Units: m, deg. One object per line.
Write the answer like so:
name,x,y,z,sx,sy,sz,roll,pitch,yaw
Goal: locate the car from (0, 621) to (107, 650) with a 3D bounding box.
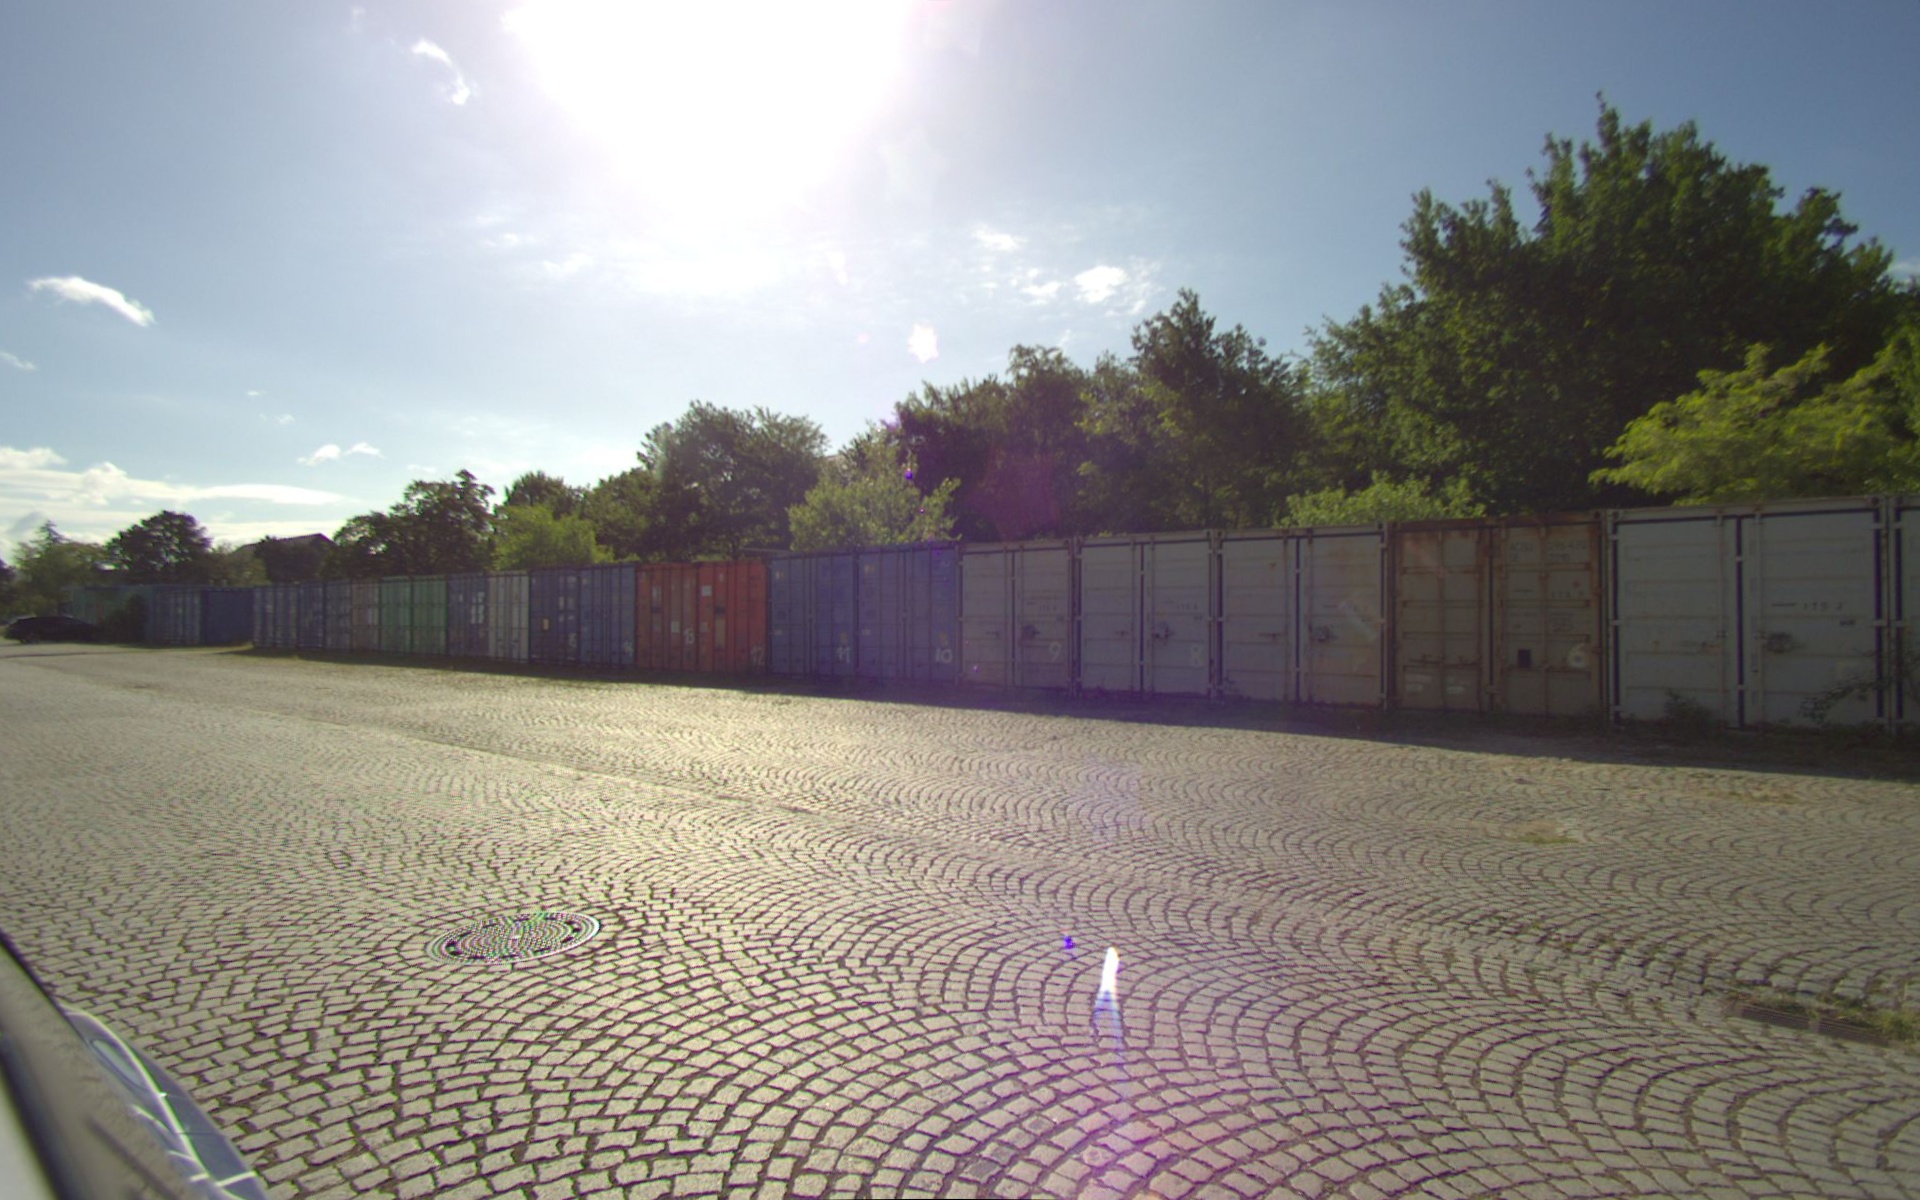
car,-47.320,1.816,52.710,1.997,1.306,4.063,-1,1,37
